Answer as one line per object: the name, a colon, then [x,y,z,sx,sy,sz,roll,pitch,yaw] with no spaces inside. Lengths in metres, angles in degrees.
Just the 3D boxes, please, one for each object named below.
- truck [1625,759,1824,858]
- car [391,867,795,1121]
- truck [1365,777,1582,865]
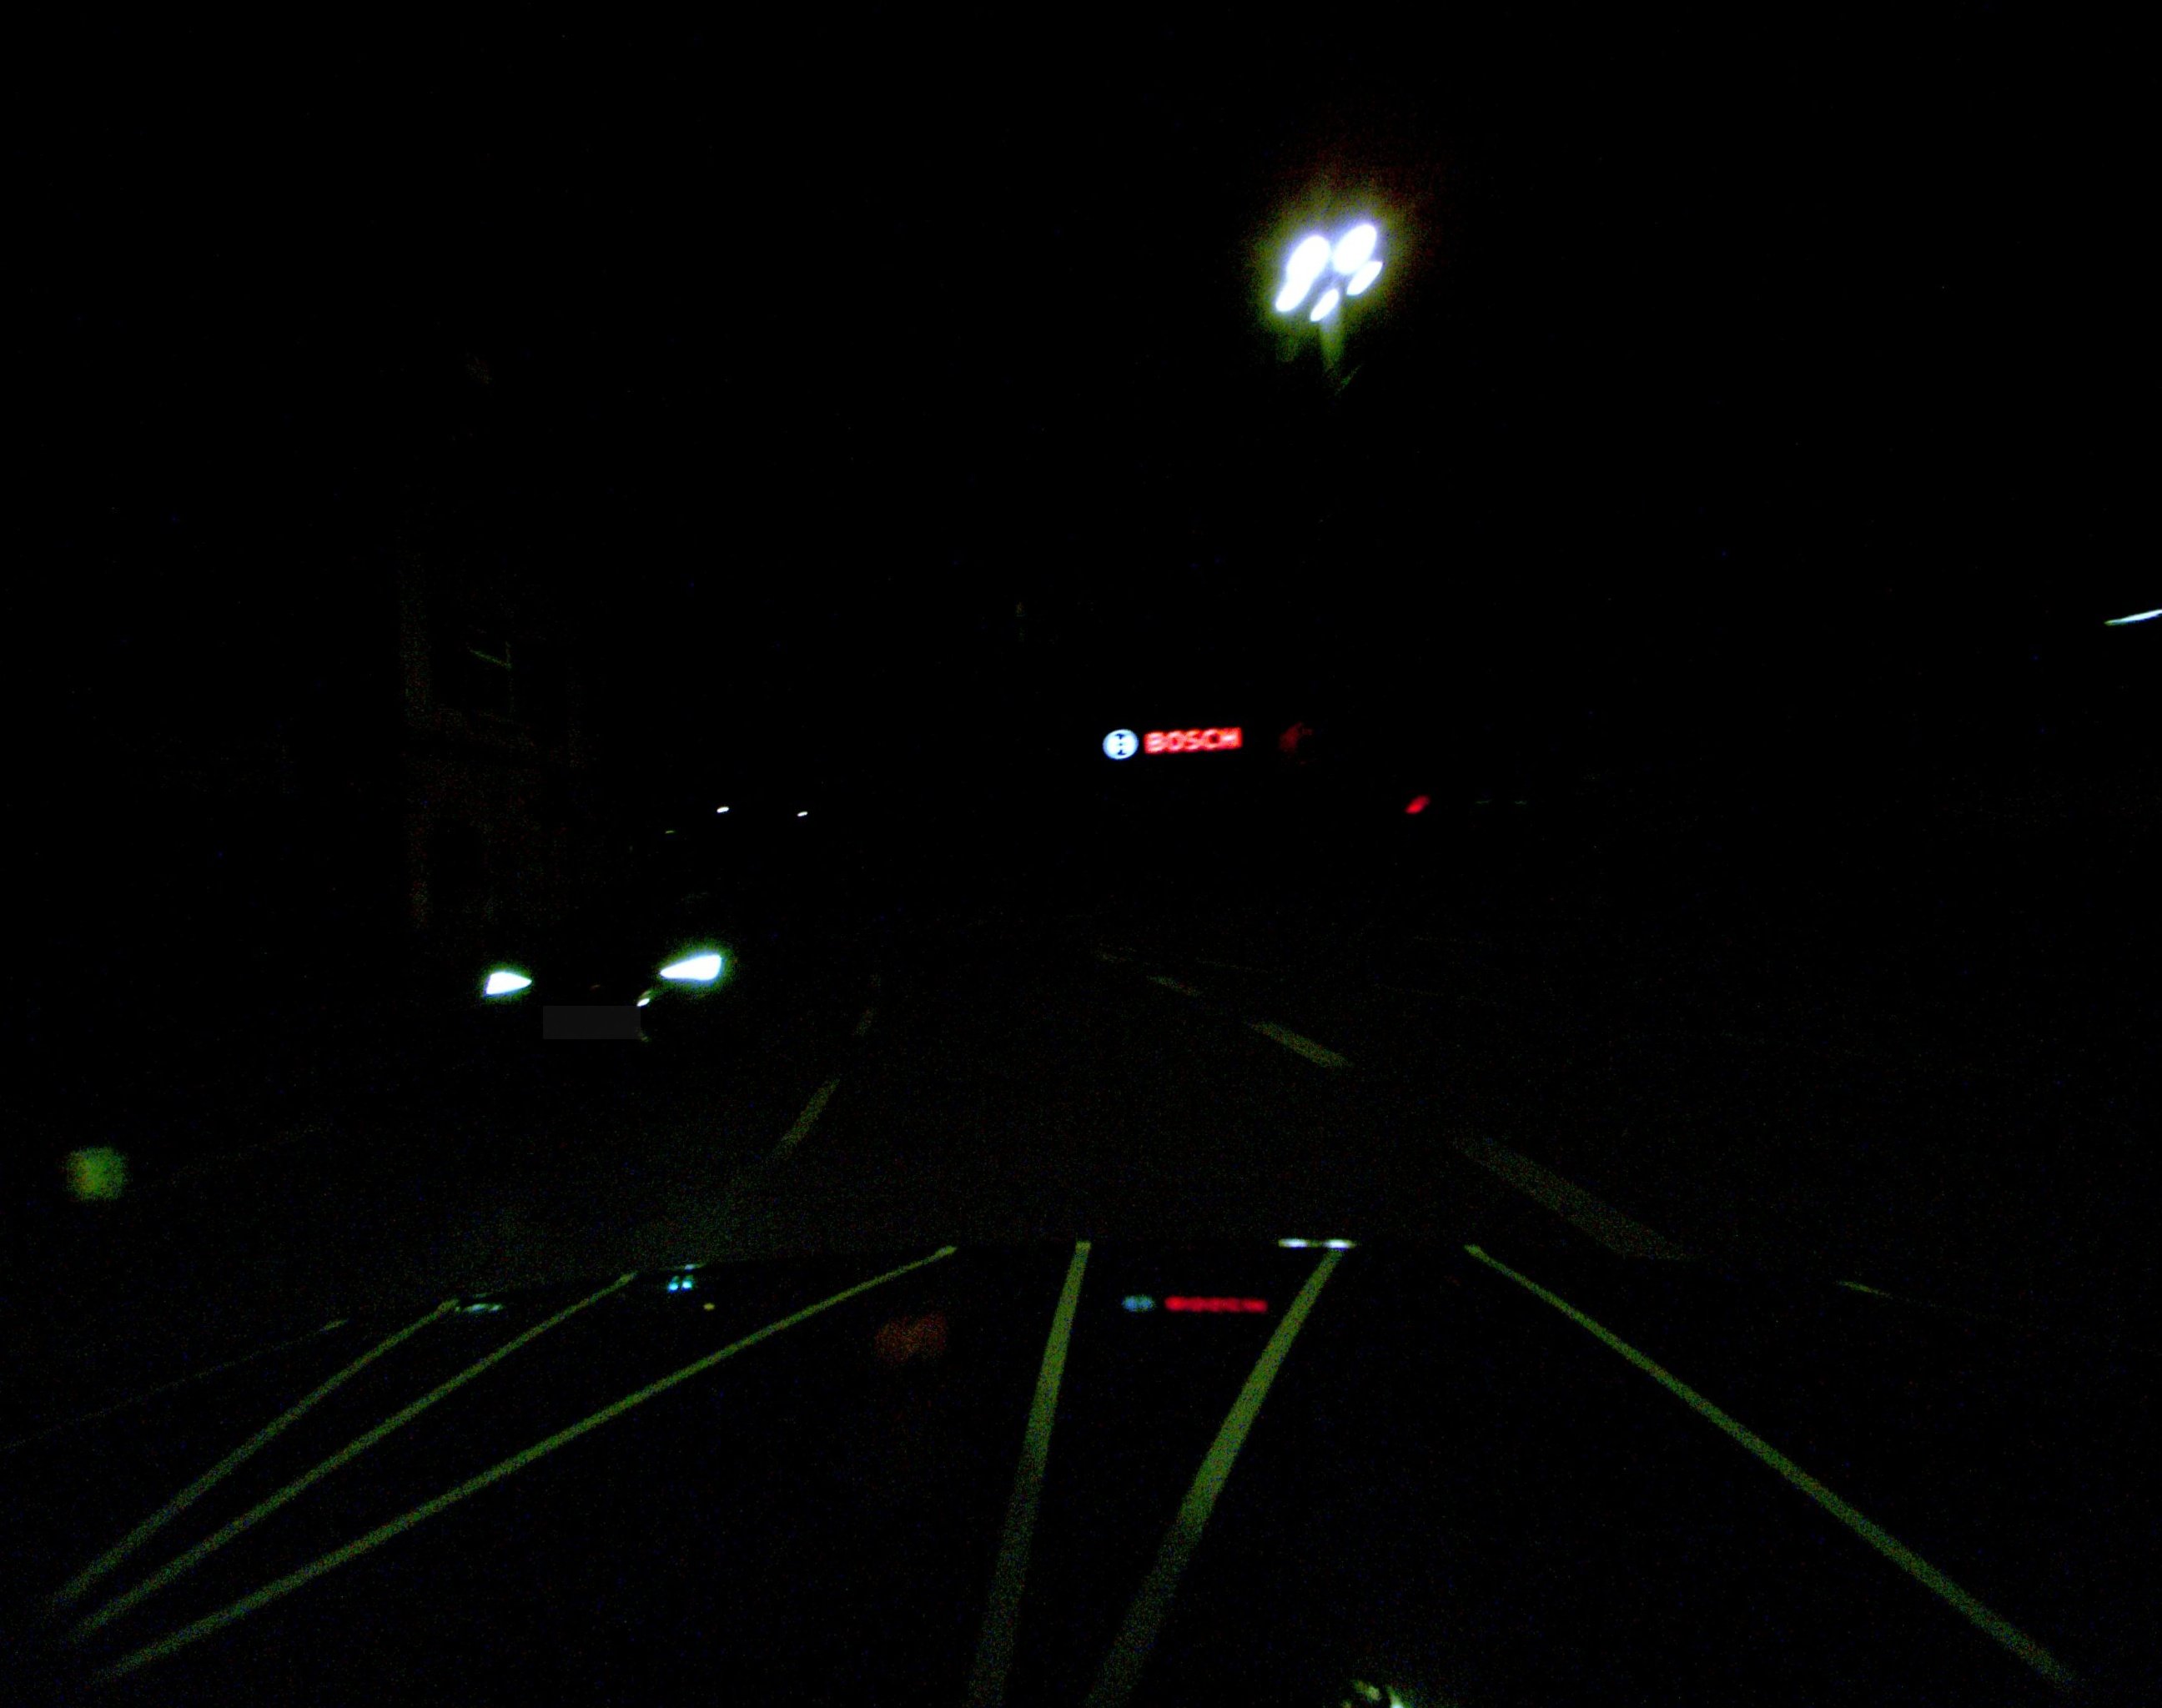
truck: [27.713,-1.853,33.133,6.191,3.672,2.405,-3,1,31]
car: [-4.171,1.003,7.395,2.001,1.607,3.995,-3,0,-13]
truck: [19.402,-1.507,38.067,9.334,3.701,2.003,-3,1,35]
